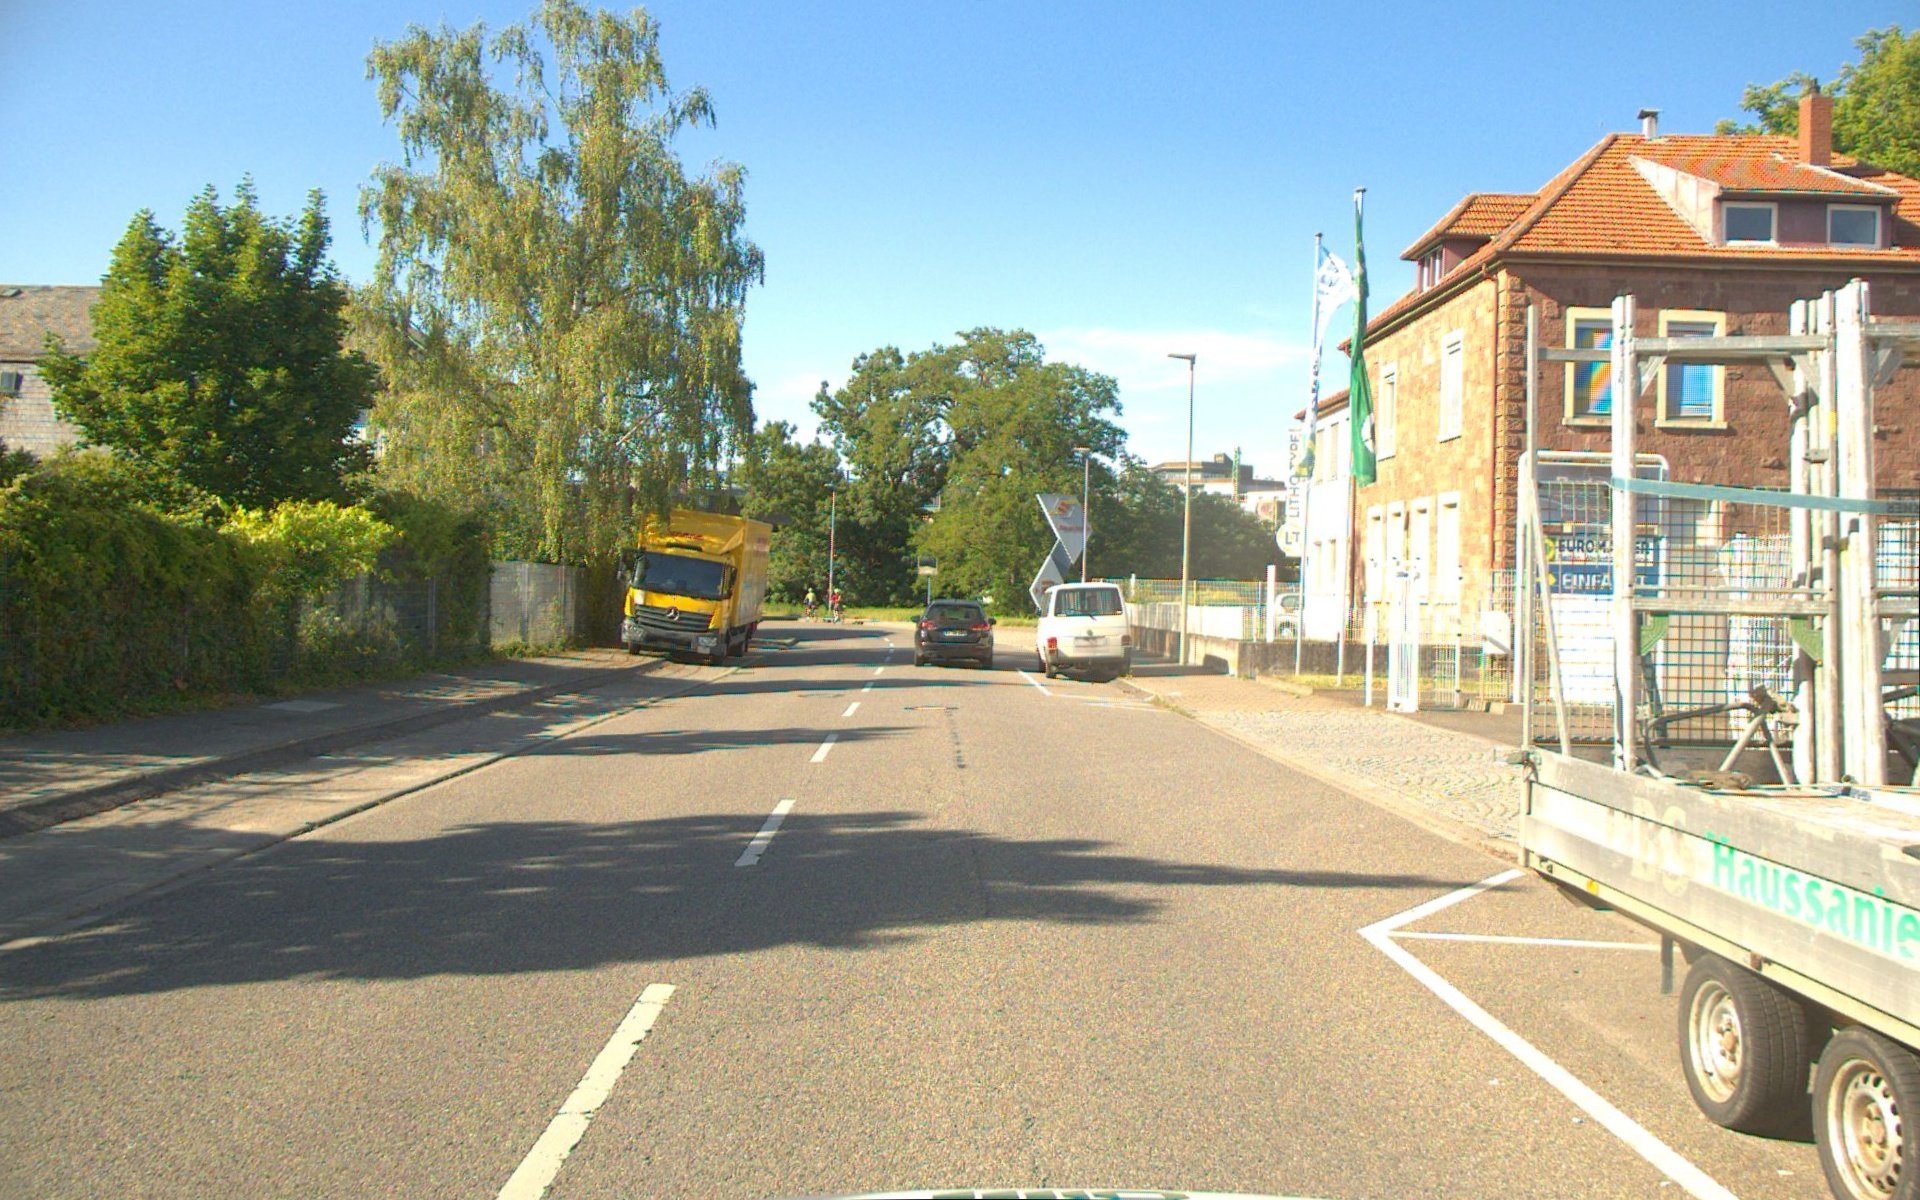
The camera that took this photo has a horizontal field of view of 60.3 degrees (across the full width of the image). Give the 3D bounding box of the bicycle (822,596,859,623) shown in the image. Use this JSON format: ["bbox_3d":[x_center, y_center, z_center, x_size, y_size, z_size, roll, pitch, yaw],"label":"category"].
[{"bbox_3d":[-6.047,0.453,83.887,0.797,1.290,2.230,2,0,-35],"label":"bicycle"}]

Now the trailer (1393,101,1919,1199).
[{"bbox_3d":[3.410,0.197,5.377,2.410,2.719,5.700,0,0,-1],"label":"trailer"}]

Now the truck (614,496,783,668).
[{"bbox_3d":[-6.307,-0.515,41.349,2.579,3.564,8.656,6,1,-1],"label":"truck"}]

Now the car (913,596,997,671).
[{"bbox_3d":[-0.109,0.717,37.365,1.809,1.556,4.000,0,1,0],"label":"car"}]

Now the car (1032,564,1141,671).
[{"bbox_3d":[2.622,0.347,35.414,1.836,2.049,5.160,2,0,0],"label":"car"}]

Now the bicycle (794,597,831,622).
[{"bbox_3d":[-7.792,0.513,87.501,0.798,1.242,2.226,2,0,-40],"label":"bicycle"}]
